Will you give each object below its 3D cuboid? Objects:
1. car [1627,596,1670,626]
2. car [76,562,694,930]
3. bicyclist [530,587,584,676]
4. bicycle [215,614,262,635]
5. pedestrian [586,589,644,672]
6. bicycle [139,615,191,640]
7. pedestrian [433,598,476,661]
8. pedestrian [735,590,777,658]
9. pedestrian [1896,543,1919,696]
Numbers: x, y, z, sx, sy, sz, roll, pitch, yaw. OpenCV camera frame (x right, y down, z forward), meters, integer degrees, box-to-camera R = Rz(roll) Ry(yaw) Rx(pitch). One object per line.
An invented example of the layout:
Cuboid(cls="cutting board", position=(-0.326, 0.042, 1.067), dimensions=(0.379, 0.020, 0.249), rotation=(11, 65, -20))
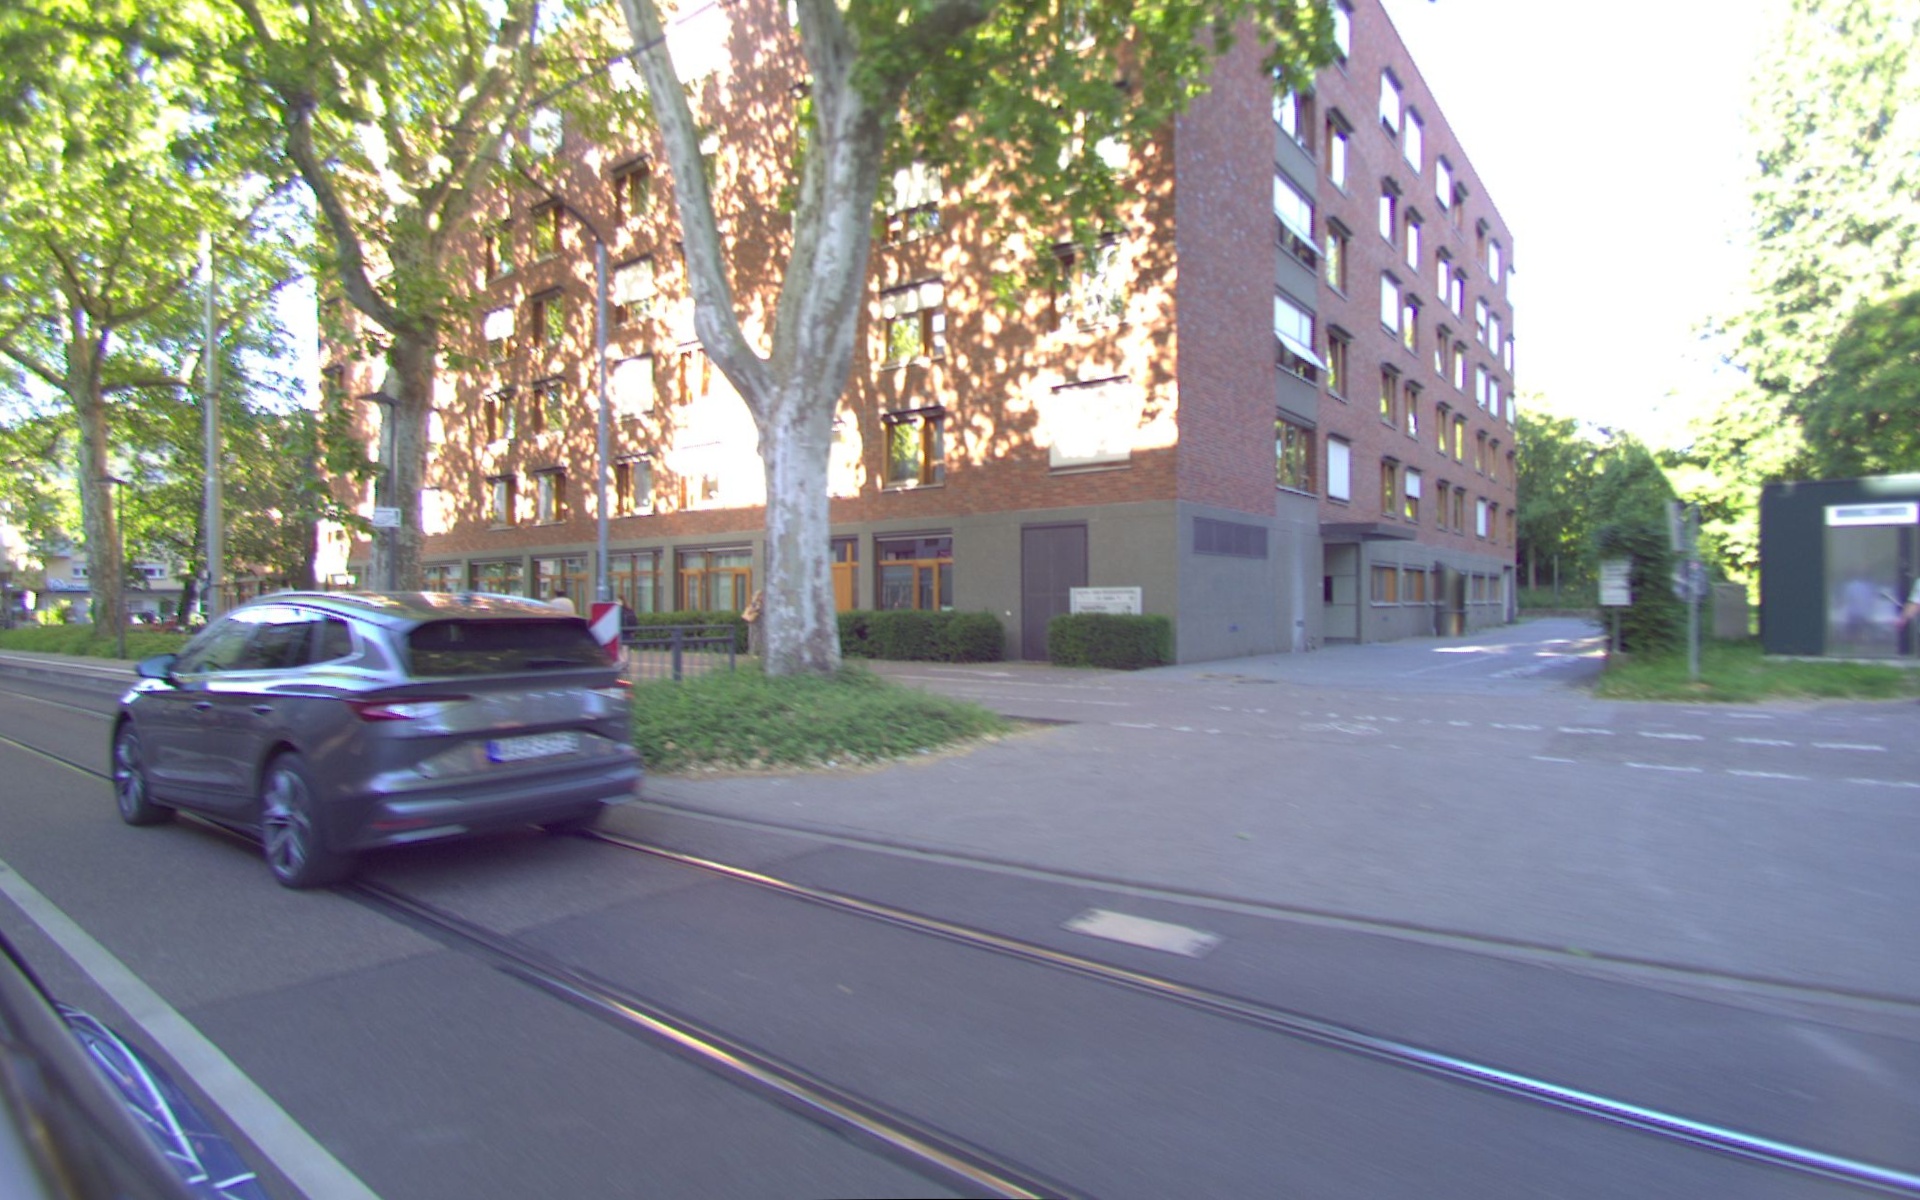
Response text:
Cuboid(cls="car", position=(35.055, 0.539, 51.503), dimensions=(1.556, 1.435, 3.592), rotation=(0, 1, 39))
Cuboid(cls="car", position=(-3.895, 0.677, 6.598), dimensions=(4.312, 1.650, 1.891), rotation=(0, -1, 36))
Cuboid(cls="bicyclist", position=(-8.406, 0.631, 21.101), dimensions=(0.838, 1.801, 0.693), rotation=(0, 1, 39))
Cuboid(cls="bicycle", position=(-39.770, 1.347, 55.816), dimensions=(2.010, 1.102, 0.822), rotation=(-1, 1, 0))
Cuboid(cls="pedestrian", position=(-7.276, 0.621, 21.345), dimensions=(0.968, 1.685, 0.731), rotation=(-1, 1, 39))
Cuboid(cls="bicycle", position=(-41.876, 1.438, 53.347), dimensions=(2.067, 1.198, 0.883), rotation=(-1, 1, -36))
Cuboid(cls="pedestrian", position=(-14.547, 0.828, 29.135), dimensions=(0.971, 1.757, 0.756), rotation=(-1, 1, 38))
Cuboid(cls="pedestrian", position=(-4.874, 0.570, 24.200), dimensions=(0.714, 1.585, 0.658), rotation=(-1, 1, 38))
Cuboid(cls="pedestrian", position=(11.472, 0.220, 11.607), dimensions=(0.832, 1.750, 0.918), rotation=(-1, 1, -35))
